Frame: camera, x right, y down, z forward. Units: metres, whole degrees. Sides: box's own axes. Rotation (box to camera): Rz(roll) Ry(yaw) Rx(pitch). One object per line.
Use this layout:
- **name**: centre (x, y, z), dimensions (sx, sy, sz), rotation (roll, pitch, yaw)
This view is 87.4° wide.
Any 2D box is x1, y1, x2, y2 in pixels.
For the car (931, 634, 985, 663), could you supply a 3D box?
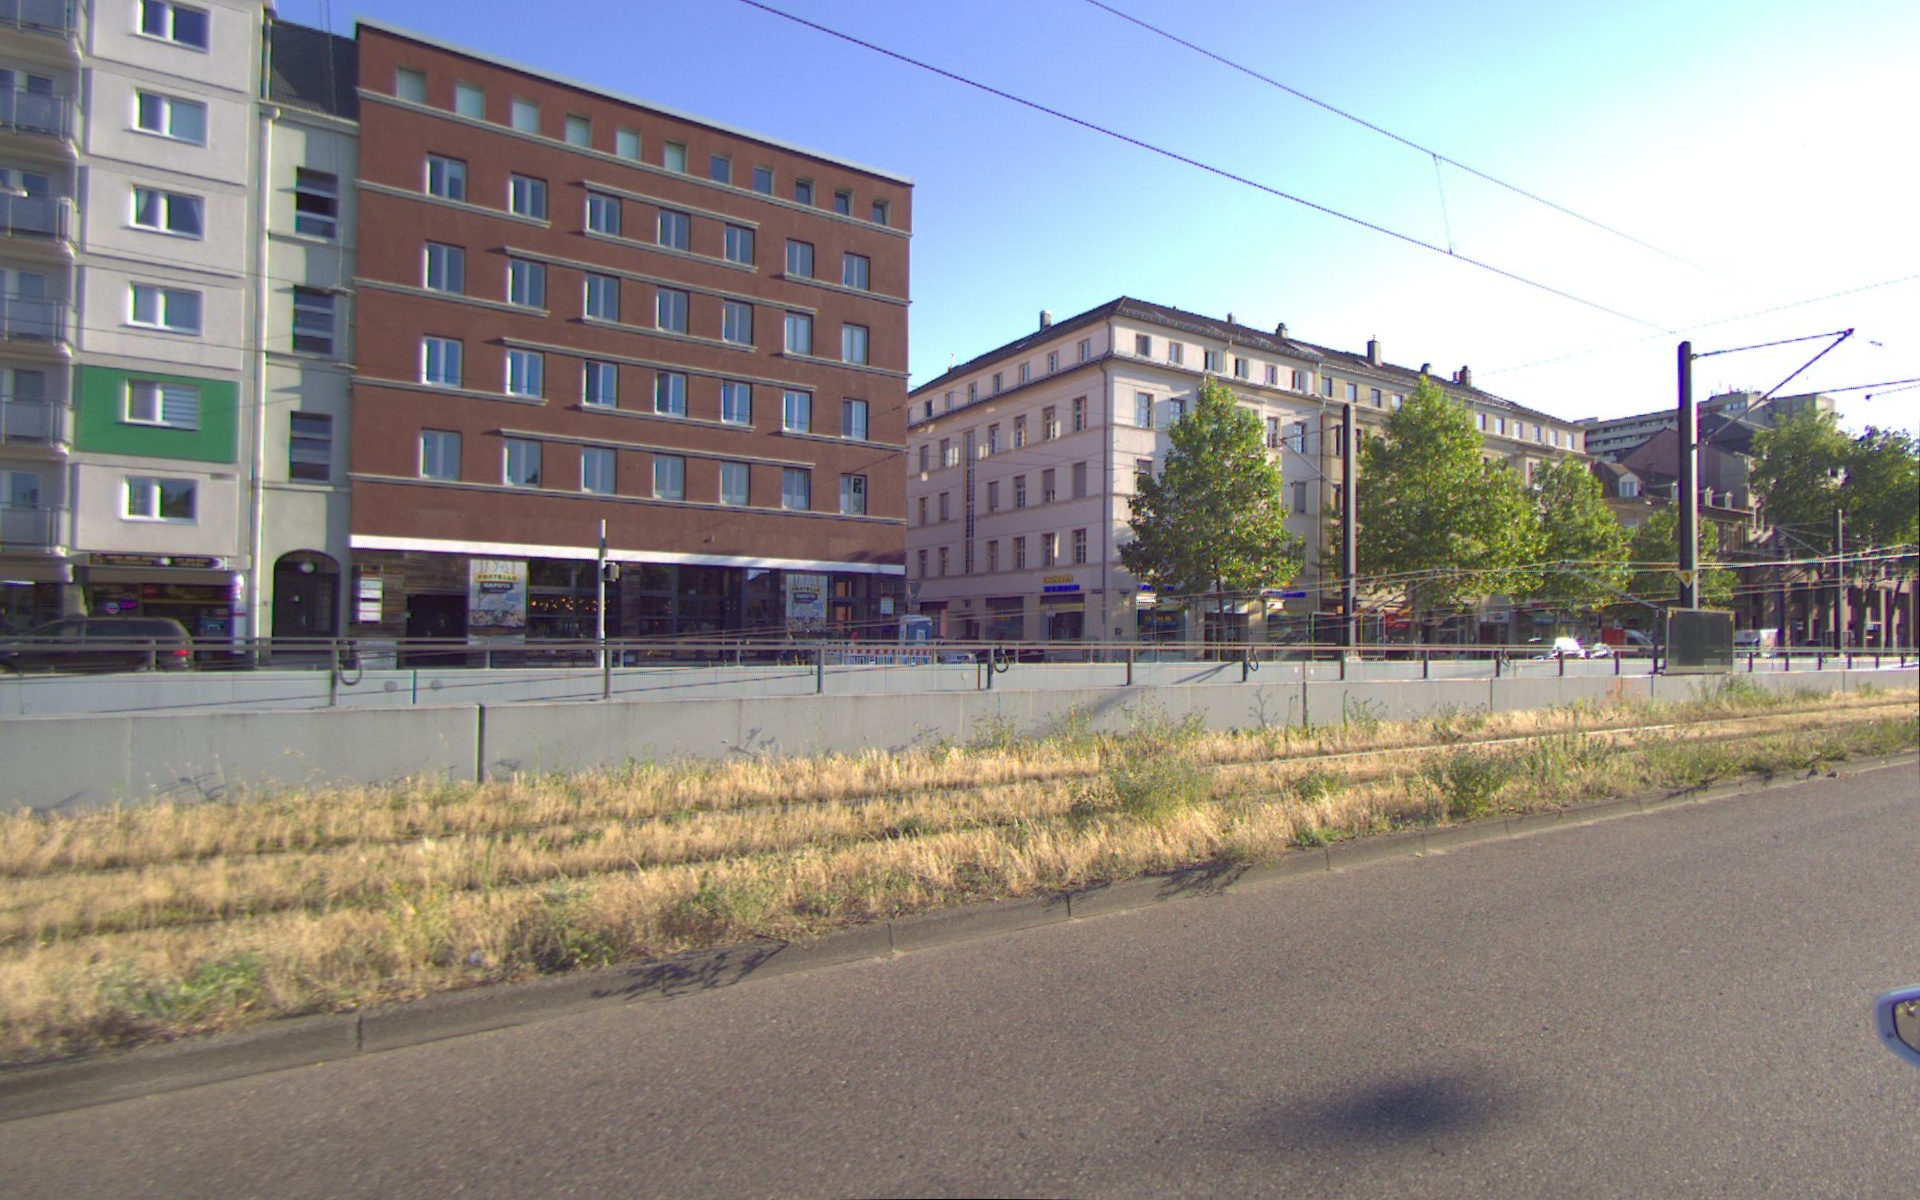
- **car**: centre (-0.152, 2.701, 56.861), dimensions (1.531, 1.567, 3.508), rotation (1, -2, -29)

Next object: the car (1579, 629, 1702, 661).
- **car**: centre (50.840, 3.327, 75.244), dimensions (2.447, 2.296, 7.216), rotation (2, -3, -36)

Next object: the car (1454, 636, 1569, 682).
- **car**: centre (23.143, 2.449, 42.116), dimensions (4.920, 1.843, 1.984), rotation (2, -2, -30)

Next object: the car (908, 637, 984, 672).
- **car**: centre (-0.687, 2.478, 46.234), dimensions (1.875, 1.505, 3.970), rotation (2, -2, -29)

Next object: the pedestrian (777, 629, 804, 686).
- **pedestrian**: centre (-6.163, 2.076, 36.472), dimensions (0.763, 2.040, 0.694), rotation (1, -2, -31)

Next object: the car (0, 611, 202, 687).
- **car**: centre (-22.398, 1.228, 25.597), dimensions (4.688, 1.821, 1.984), rotation (2, -2, -31)

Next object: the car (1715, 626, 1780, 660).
- **car**: centre (51.241, 2.795, 65.338), dimensions (4.522, 2.162, 1.942), rotation (2, -2, -32)
